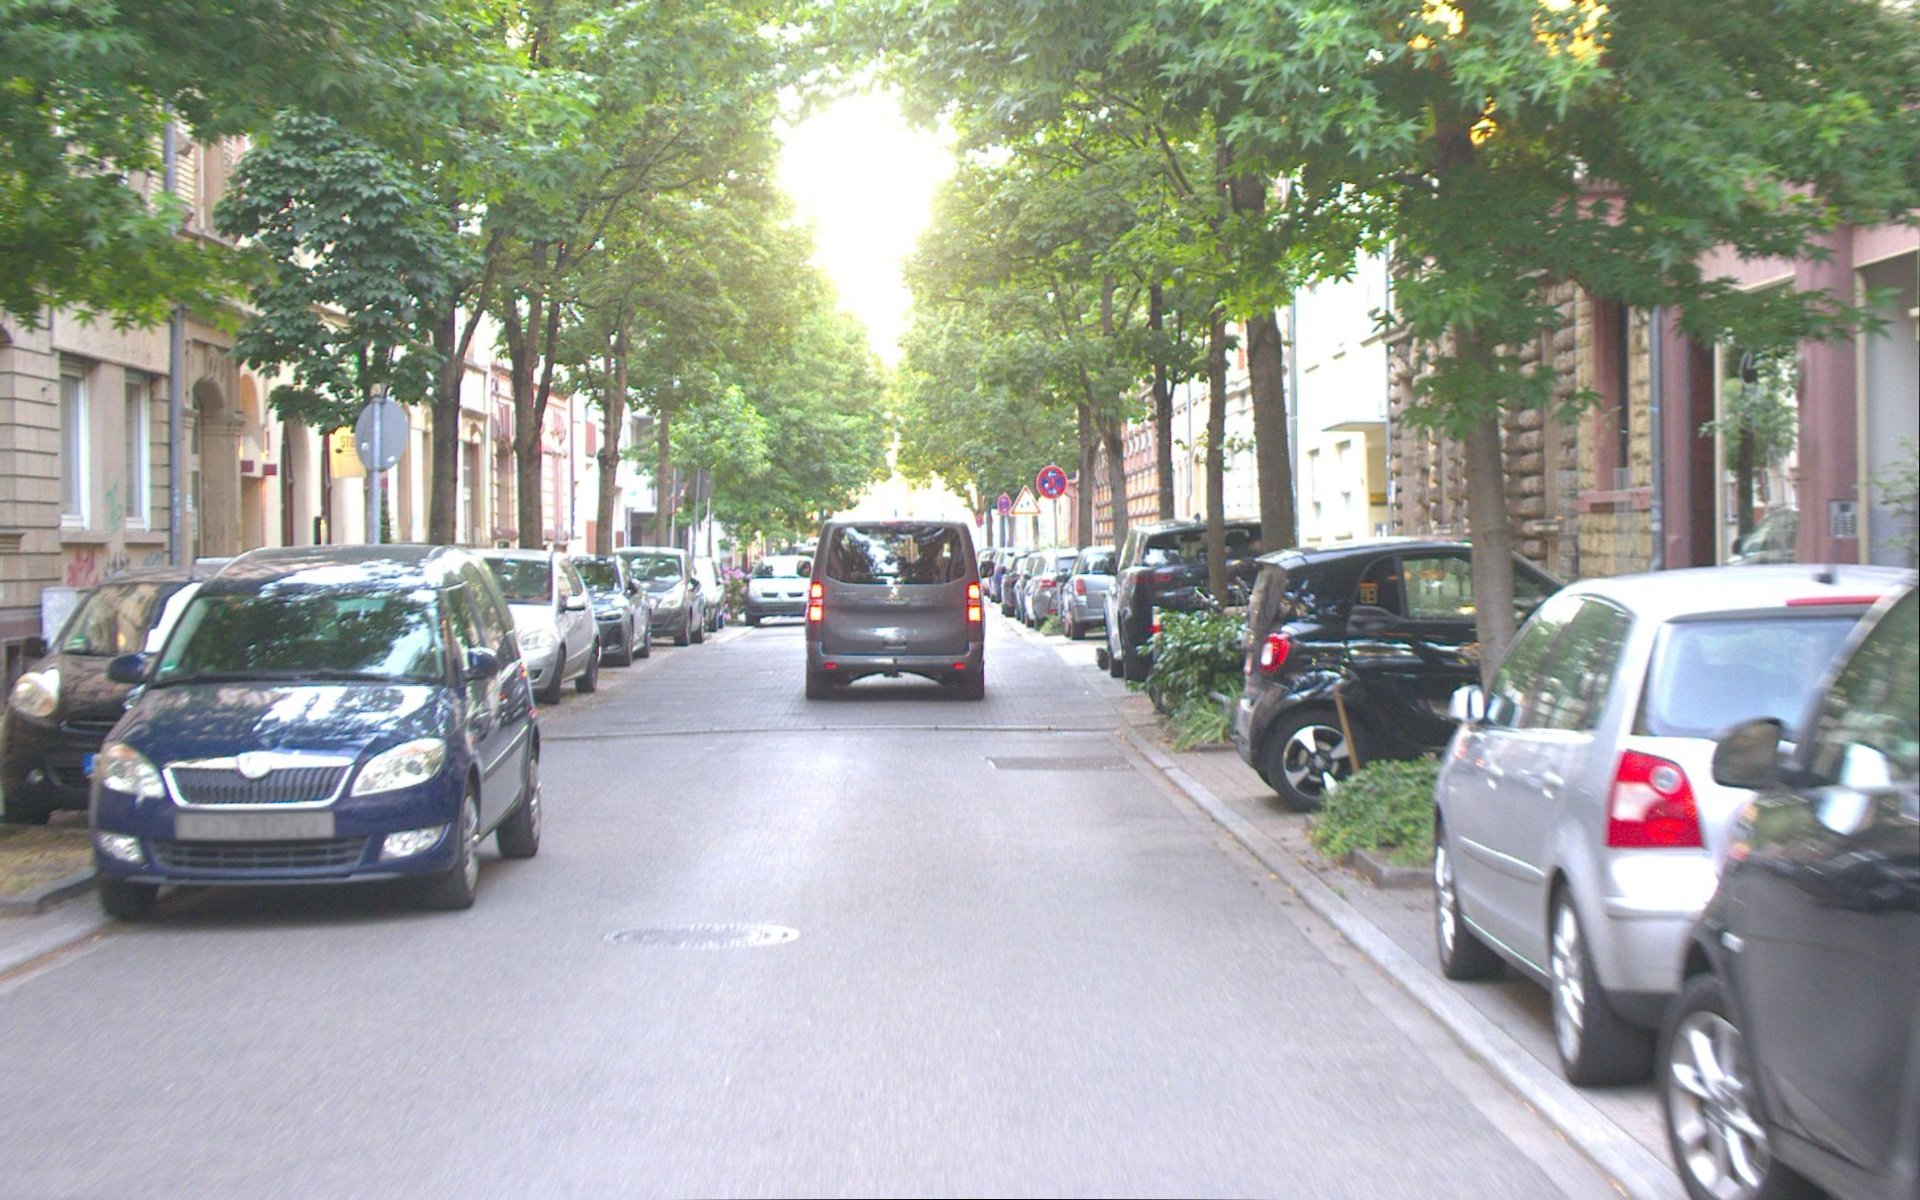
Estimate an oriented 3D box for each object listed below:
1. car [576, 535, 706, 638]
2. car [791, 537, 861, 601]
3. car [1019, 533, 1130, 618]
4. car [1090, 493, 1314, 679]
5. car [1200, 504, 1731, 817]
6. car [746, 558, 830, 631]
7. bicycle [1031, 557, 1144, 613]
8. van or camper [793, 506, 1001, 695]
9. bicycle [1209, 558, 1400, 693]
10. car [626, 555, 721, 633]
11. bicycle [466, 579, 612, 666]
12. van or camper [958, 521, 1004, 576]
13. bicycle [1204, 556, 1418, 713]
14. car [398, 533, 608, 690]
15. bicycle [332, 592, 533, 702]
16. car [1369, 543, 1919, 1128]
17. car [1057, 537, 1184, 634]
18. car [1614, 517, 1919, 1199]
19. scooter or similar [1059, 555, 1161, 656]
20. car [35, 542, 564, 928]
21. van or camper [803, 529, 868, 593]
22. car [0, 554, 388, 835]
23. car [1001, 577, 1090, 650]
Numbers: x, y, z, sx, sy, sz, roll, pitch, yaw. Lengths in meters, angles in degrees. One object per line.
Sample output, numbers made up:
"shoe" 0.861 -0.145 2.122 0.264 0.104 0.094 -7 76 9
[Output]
"car" -5.138 -0.249 55.776 1.706 1.575 4.078 1 1 0
"car" -3.486 -0.814 88.972 1.663 1.558 4.001 -1 1 -4
"car" 2.127 -0.493 64.920 1.716 1.471 4.369 -3 1 -2
"car" 2.614 -0.195 38.303 2.013 1.827 4.811 -3 1 -1
"car" 2.938 0.331 20.469 2.797 1.594 1.801 -4 1 0
"car" -3.556 -0.134 71.660 1.580 1.415 3.753 -1 1 -1
"bicycle" 2.301 -0.277 62.023 1.915 0.978 0.638 -1 1 -22
"van or camper" -0.617 -0.026 36.937 2.035 1.891 4.271 -1 1 1
"bicycle" 3.165 0.228 31.689 1.696 1.194 0.582 -1 1 3
"car" -5.497 -0.139 66.243 1.587 1.432 3.566 1 1 -1
"bicycle" -5.126 0.271 41.898 1.684 1.000 0.430 2 1 1
"van or camper" 1.008 -2.503 167.130 1.993 2.590 5.425 -1 1 -2
"bicycle" 3.142 0.299 30.873 1.761 1.289 0.802 -3 1 -1
"car" -4.888 0.081 37.236 1.676 1.602 3.861 0 1 1
"bicycle" -5.190 0.457 33.833 1.863 1.056 0.596 1 1 -19
"car" 2.464 0.585 11.078 1.733 1.486 4.104 -1 1 -1
"car" 2.574 -0.271 56.008 1.758 1.458 4.308 -2 1 -1
"car" 2.424 0.612 6.702 1.591 1.555 3.123 -1 1 -2
"scooter or similar" 1.859 0.065 42.535 0.675 1.186 1.113 -3 0 39
"car" -2.984 0.525 16.381 1.723 1.568 4.220 -1 1 -1
"van or camper" -3.786 -1.206 104.231 1.876 1.836 4.753 -2 1 -2
"car" -4.503 0.485 20.374 1.691 1.496 3.712 0 1 -2
"car" 1.835 0.276 75.126 1.766 1.410 4.474 -3 1 0
